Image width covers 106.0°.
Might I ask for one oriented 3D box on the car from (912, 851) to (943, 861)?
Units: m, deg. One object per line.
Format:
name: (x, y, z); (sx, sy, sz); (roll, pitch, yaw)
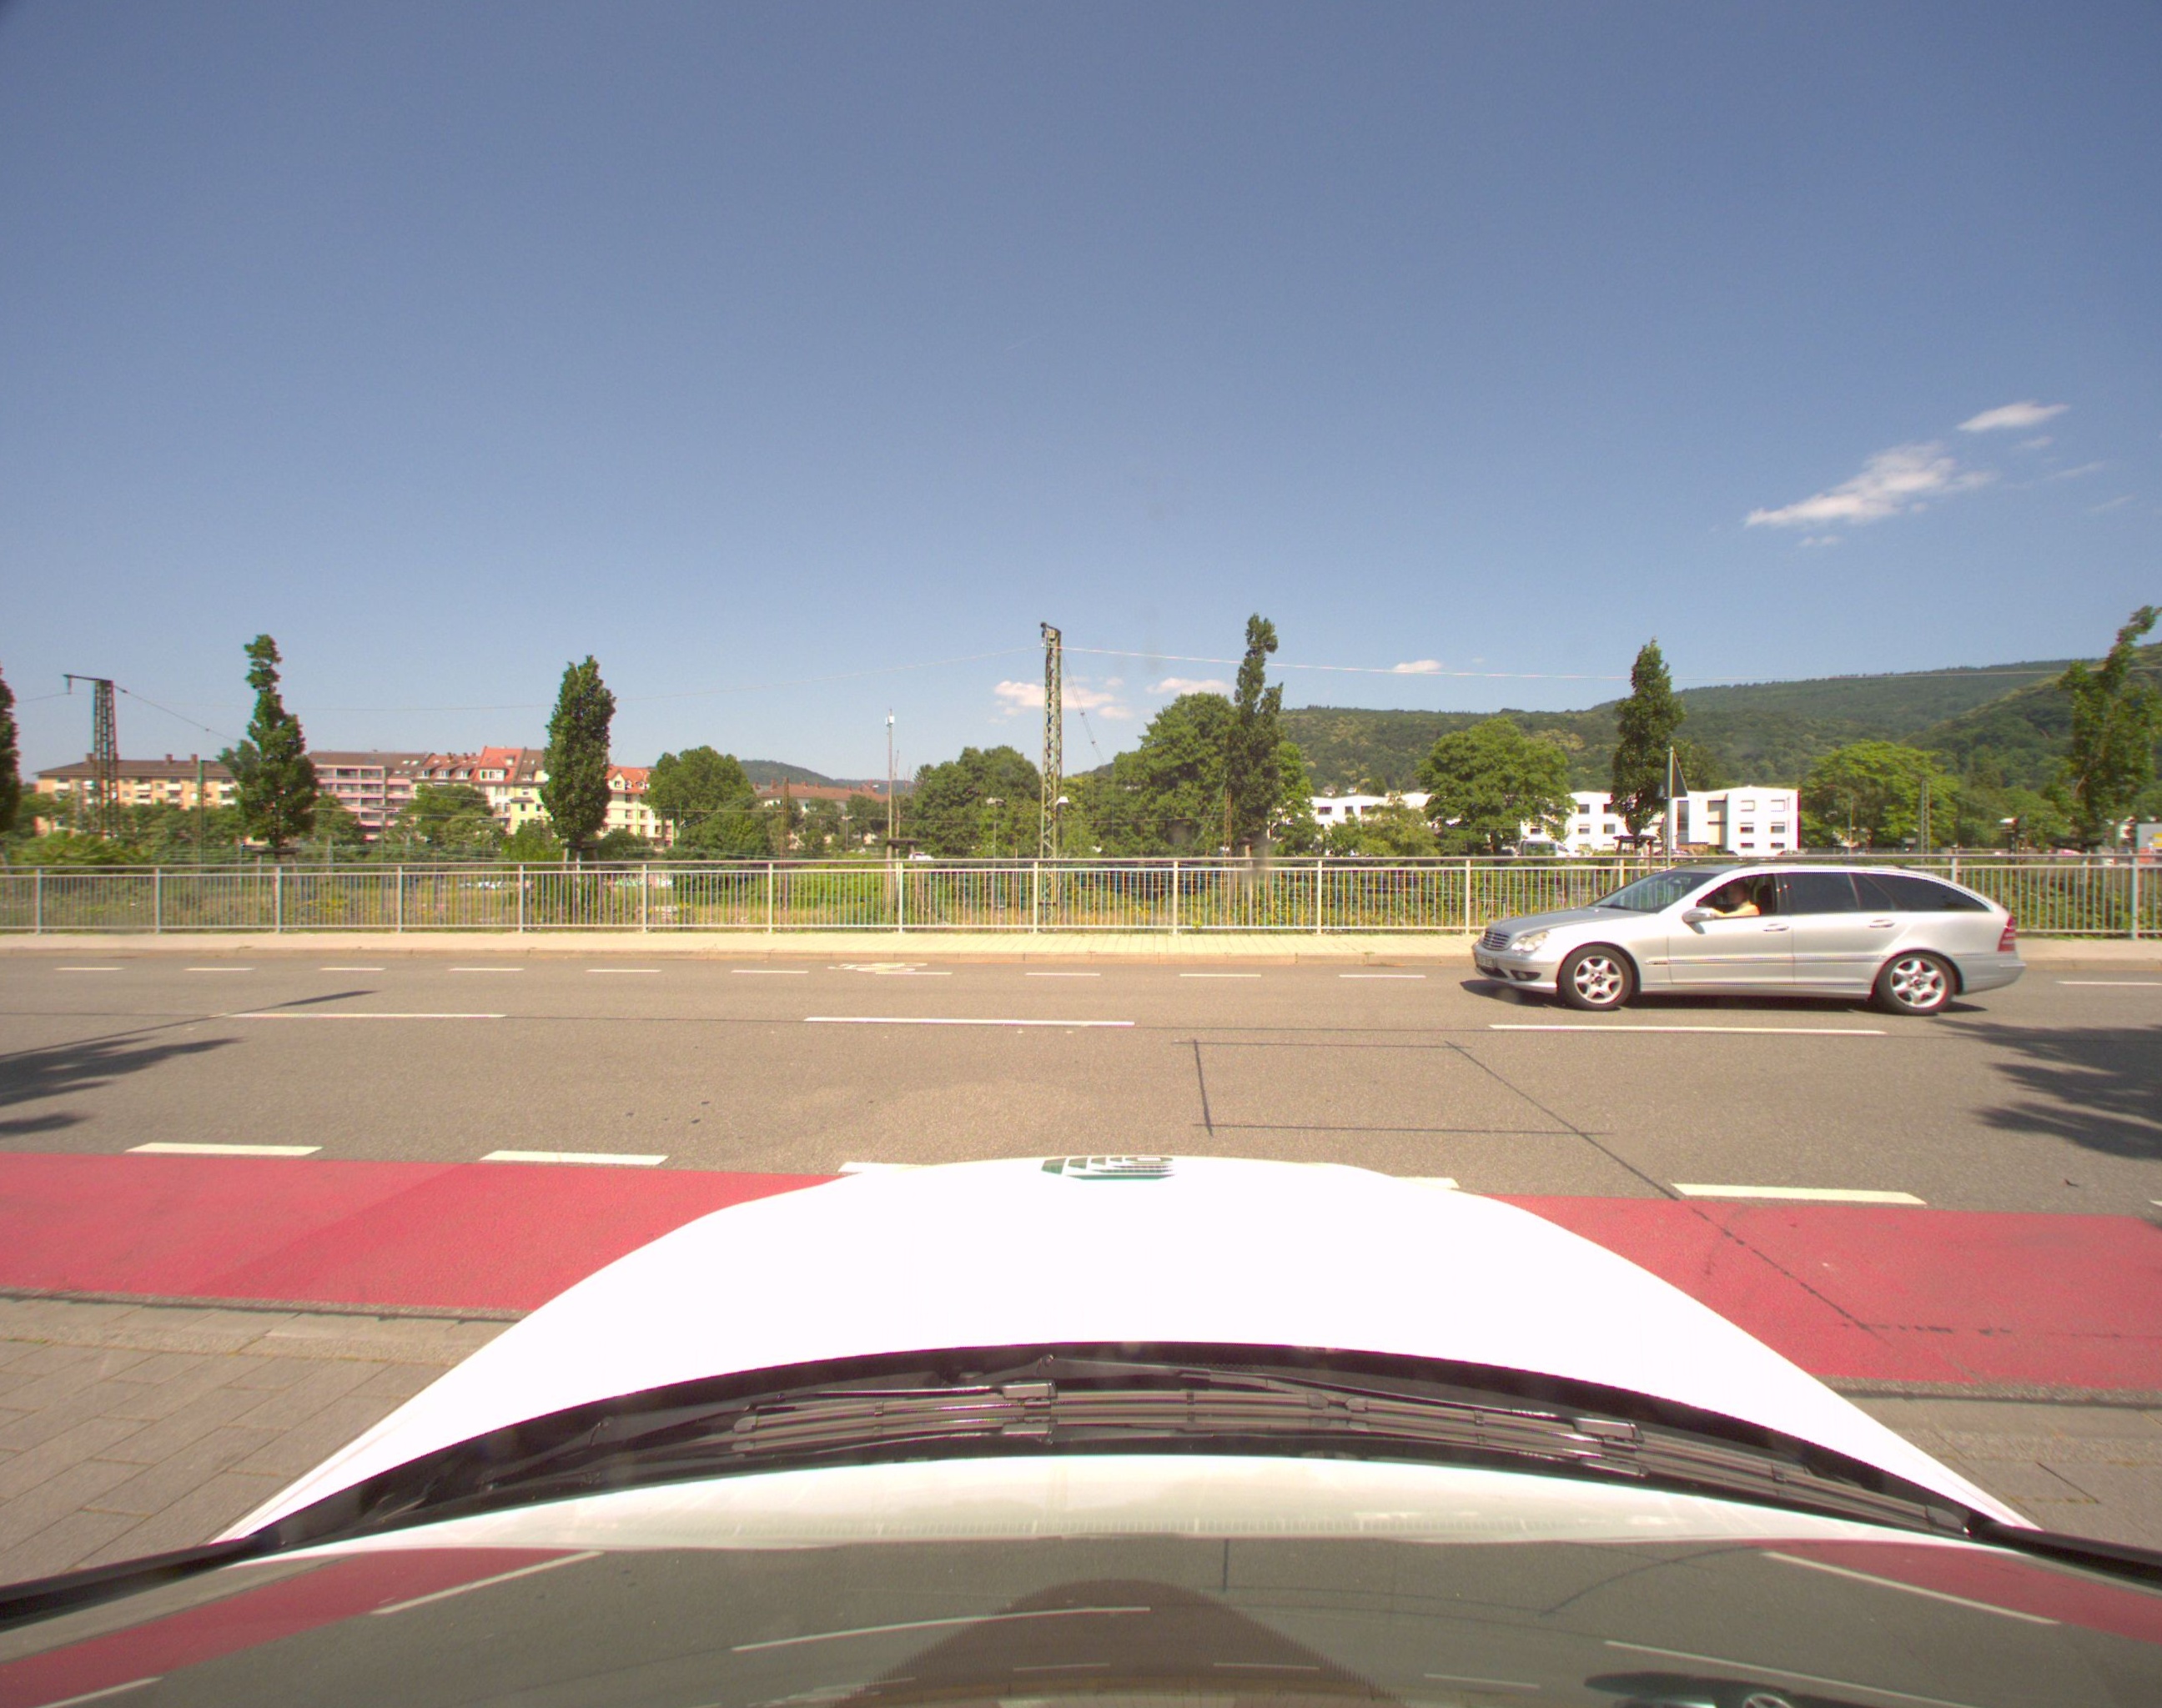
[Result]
car: (-21.537, 0.286, 114.230); (4.260, 1.367, 1.878); (0, 0, 34)

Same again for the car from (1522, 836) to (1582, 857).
car: (53.466, -0.816, 92.546); (5.459, 2.103, 2.143); (-2, -5, 16)

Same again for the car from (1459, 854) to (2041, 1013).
car: (6.420, 0.733, 8.297); (4.349, 1.404, 1.717); (0, -1, 7)
